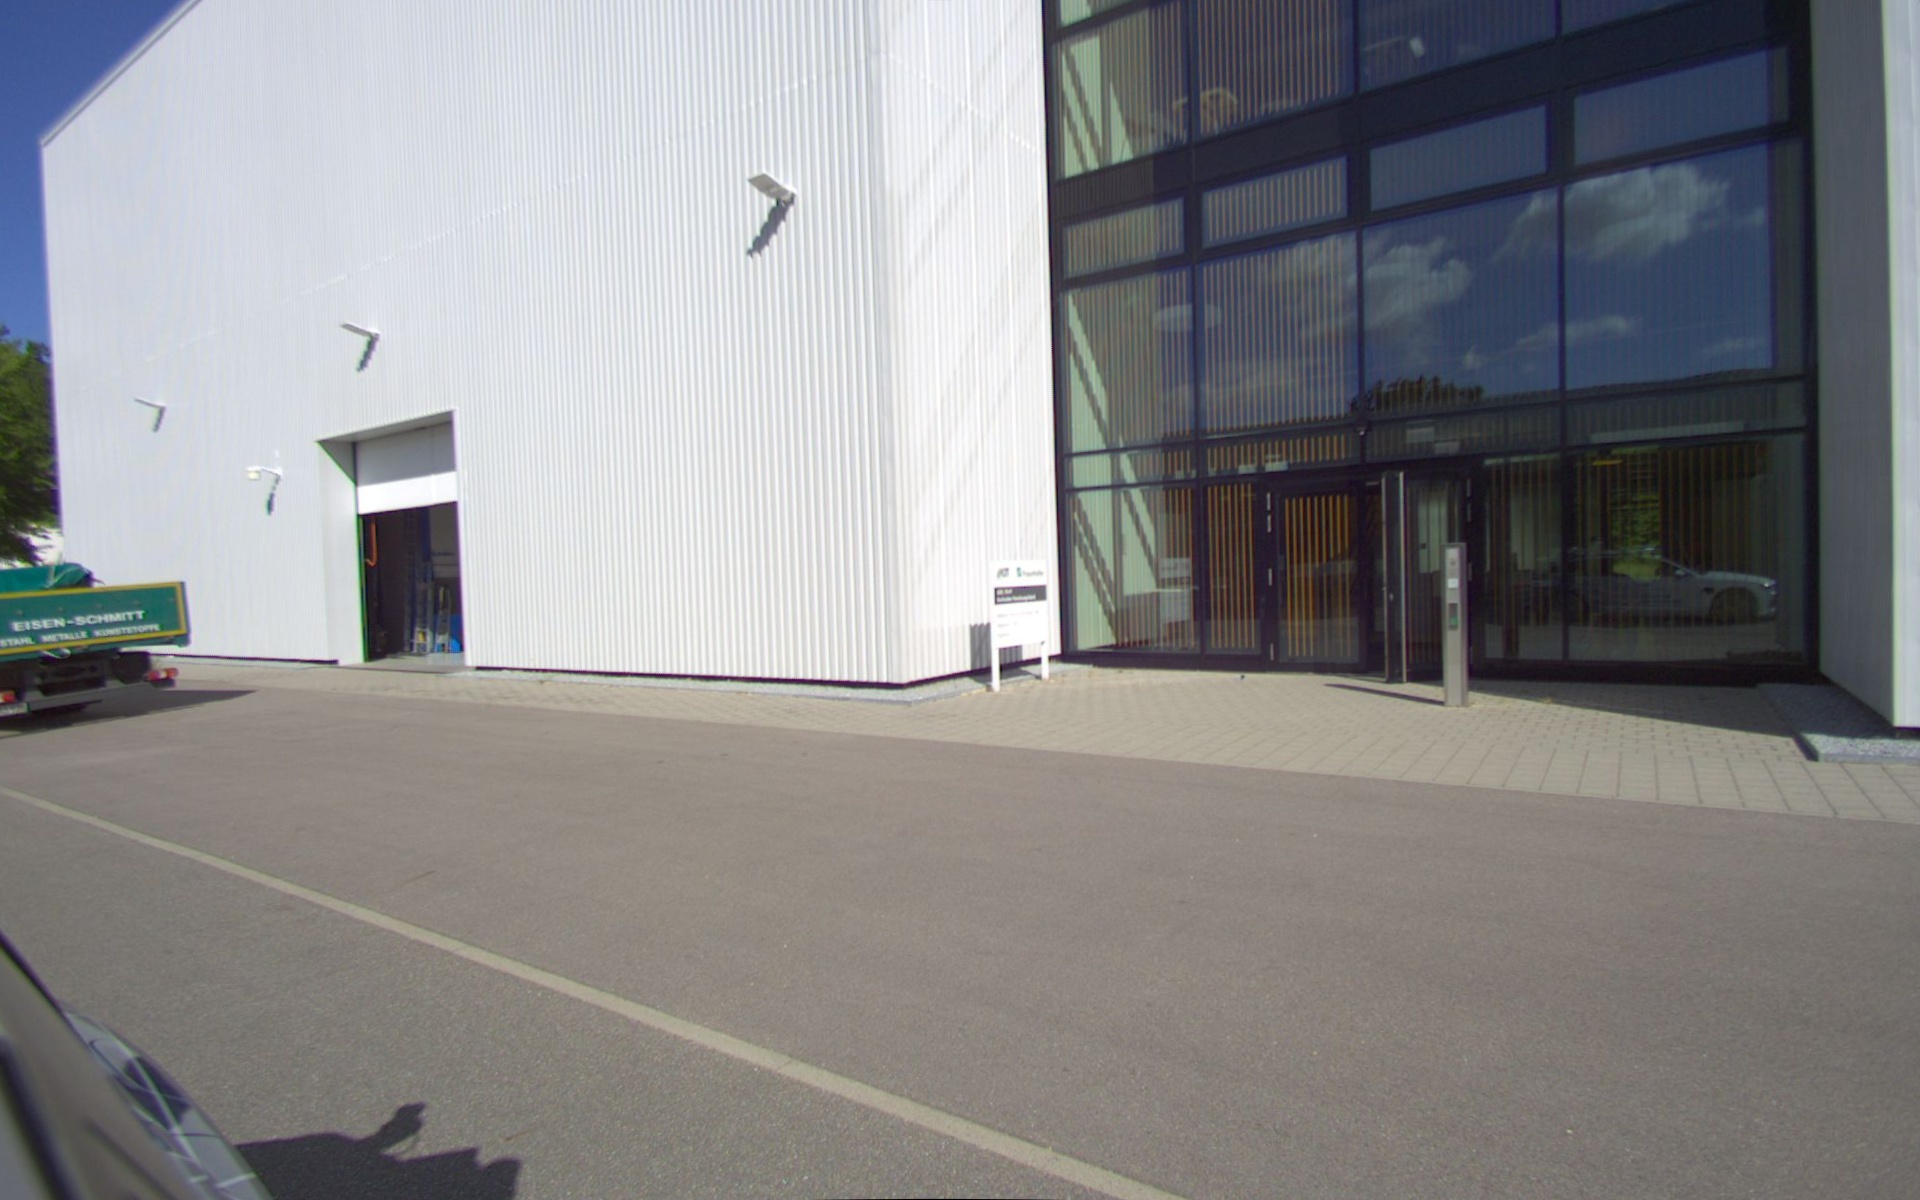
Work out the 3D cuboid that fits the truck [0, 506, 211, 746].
[{"bbox_3d":[-15.106,0.386,14.260,9.629,2.736,2.571,-2,3,22],"label":"truck"}]
